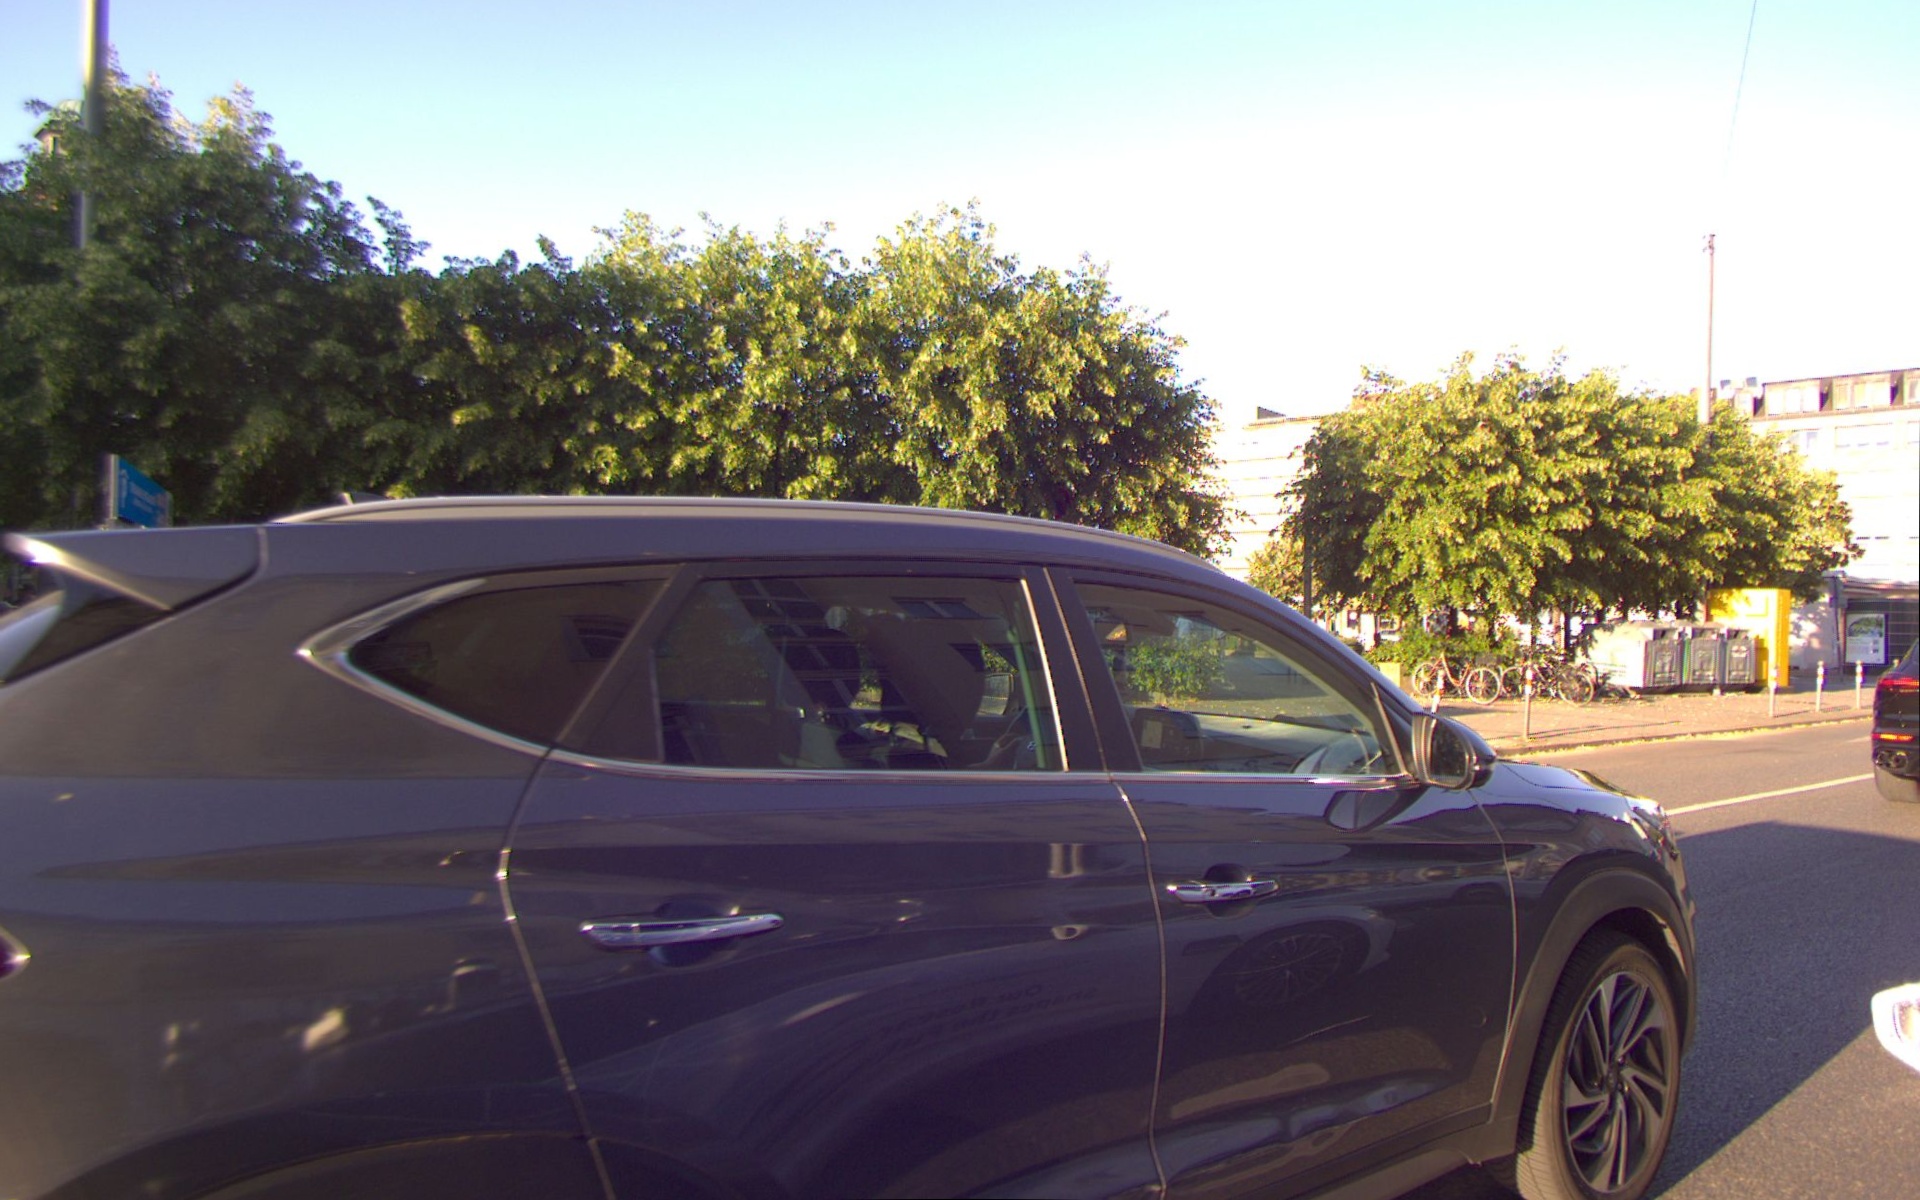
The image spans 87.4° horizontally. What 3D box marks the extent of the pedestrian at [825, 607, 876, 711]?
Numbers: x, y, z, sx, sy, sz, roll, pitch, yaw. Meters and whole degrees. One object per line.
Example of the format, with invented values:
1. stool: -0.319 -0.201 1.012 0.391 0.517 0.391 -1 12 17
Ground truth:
1. pedestrian: -2.227 1.178 20.357 0.730 2.040 0.872 1 0 -29

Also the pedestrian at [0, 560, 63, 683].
1. pedestrian: -16.067 0.361 17.304 0.892 2.040 0.736 1 -1 37

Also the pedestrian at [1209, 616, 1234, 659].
1. pedestrian: 10.282 1.461 39.534 0.824 1.642 0.705 2 0 8

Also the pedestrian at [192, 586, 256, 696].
1. pedestrian: -14.050 0.769 19.169 0.892 2.040 0.736 1 -1 37

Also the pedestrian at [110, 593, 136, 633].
1. pedestrian: -29.837 0.471 35.798 0.650 1.394 0.512 1 -1 -45

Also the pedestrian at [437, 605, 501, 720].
1. pedestrian: -8.927 1.113 18.298 0.725 2.040 0.906 1 0 -3

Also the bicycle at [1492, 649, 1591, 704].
1. bicycle: 11.815 1.533 20.442 0.543 0.992 1.663 1 0 -34

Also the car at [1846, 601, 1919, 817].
1. car: 9.878 0.911 8.850 4.511 1.737 1.938 1 -2 -32

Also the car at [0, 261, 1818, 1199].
1. car: 0.067 0.632 2.448 4.400 1.712 1.862 1 -2 -32

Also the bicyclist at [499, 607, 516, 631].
1. bicyclist: -29.357 1.232 65.112 0.630 1.467 0.768 2 0 36

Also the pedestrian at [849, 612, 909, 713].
1. pedestrian: -1.688 1.279 20.986 0.851 2.040 0.894 1 -1 -44

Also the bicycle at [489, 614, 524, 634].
1. bicycle: -29.369 1.579 65.115 0.571 1.277 2.023 2 0 36

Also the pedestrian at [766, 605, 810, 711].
1. pedestrian: -3.389 1.134 19.857 0.725 2.040 0.906 1 0 -3

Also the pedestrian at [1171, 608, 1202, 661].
1. pedestrian: 7.588 1.151 33.701 0.879 1.748 0.736 2 0 7

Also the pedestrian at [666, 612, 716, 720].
1. pedestrian: -5.189 1.252 19.445 0.725 2.040 0.906 1 0 -3

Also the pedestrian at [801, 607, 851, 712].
1. pedestrian: -2.663 1.160 19.935 0.730 2.040 0.759 1 0 -29

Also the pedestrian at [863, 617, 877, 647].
1. pedestrian: -3.365 1.192 37.536 0.519 1.077 0.462 0 1 -2

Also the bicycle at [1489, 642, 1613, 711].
1. bicycle: 11.394 1.445 19.424 0.543 1.150 2.012 1 0 -34

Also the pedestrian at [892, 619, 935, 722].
1. pedestrian: -0.951 1.410 20.503 0.840 2.040 0.906 1 0 -3

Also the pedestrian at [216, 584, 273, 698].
1. pedestrian: -13.188 0.744 18.508 0.734 2.040 0.895 1 -1 -42

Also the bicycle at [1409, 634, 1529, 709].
1. bicycle: 9.677 1.336 19.187 0.543 1.269 2.012 1 0 -34

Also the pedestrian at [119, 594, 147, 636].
1. pedestrian: -27.842 0.520 33.819 0.650 1.394 0.512 1 -1 -45

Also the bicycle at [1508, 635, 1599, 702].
1. bicycle: 12.296 1.389 20.848 0.440 1.269 1.577 1 0 -31

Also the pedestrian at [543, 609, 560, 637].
1. pedestrian: -16.117 0.902 39.612 0.525 1.077 0.457 -1 2 -37

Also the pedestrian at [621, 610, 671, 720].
1. pedestrian: -5.967 1.224 19.145 0.725 2.040 0.905 1 0 -7
